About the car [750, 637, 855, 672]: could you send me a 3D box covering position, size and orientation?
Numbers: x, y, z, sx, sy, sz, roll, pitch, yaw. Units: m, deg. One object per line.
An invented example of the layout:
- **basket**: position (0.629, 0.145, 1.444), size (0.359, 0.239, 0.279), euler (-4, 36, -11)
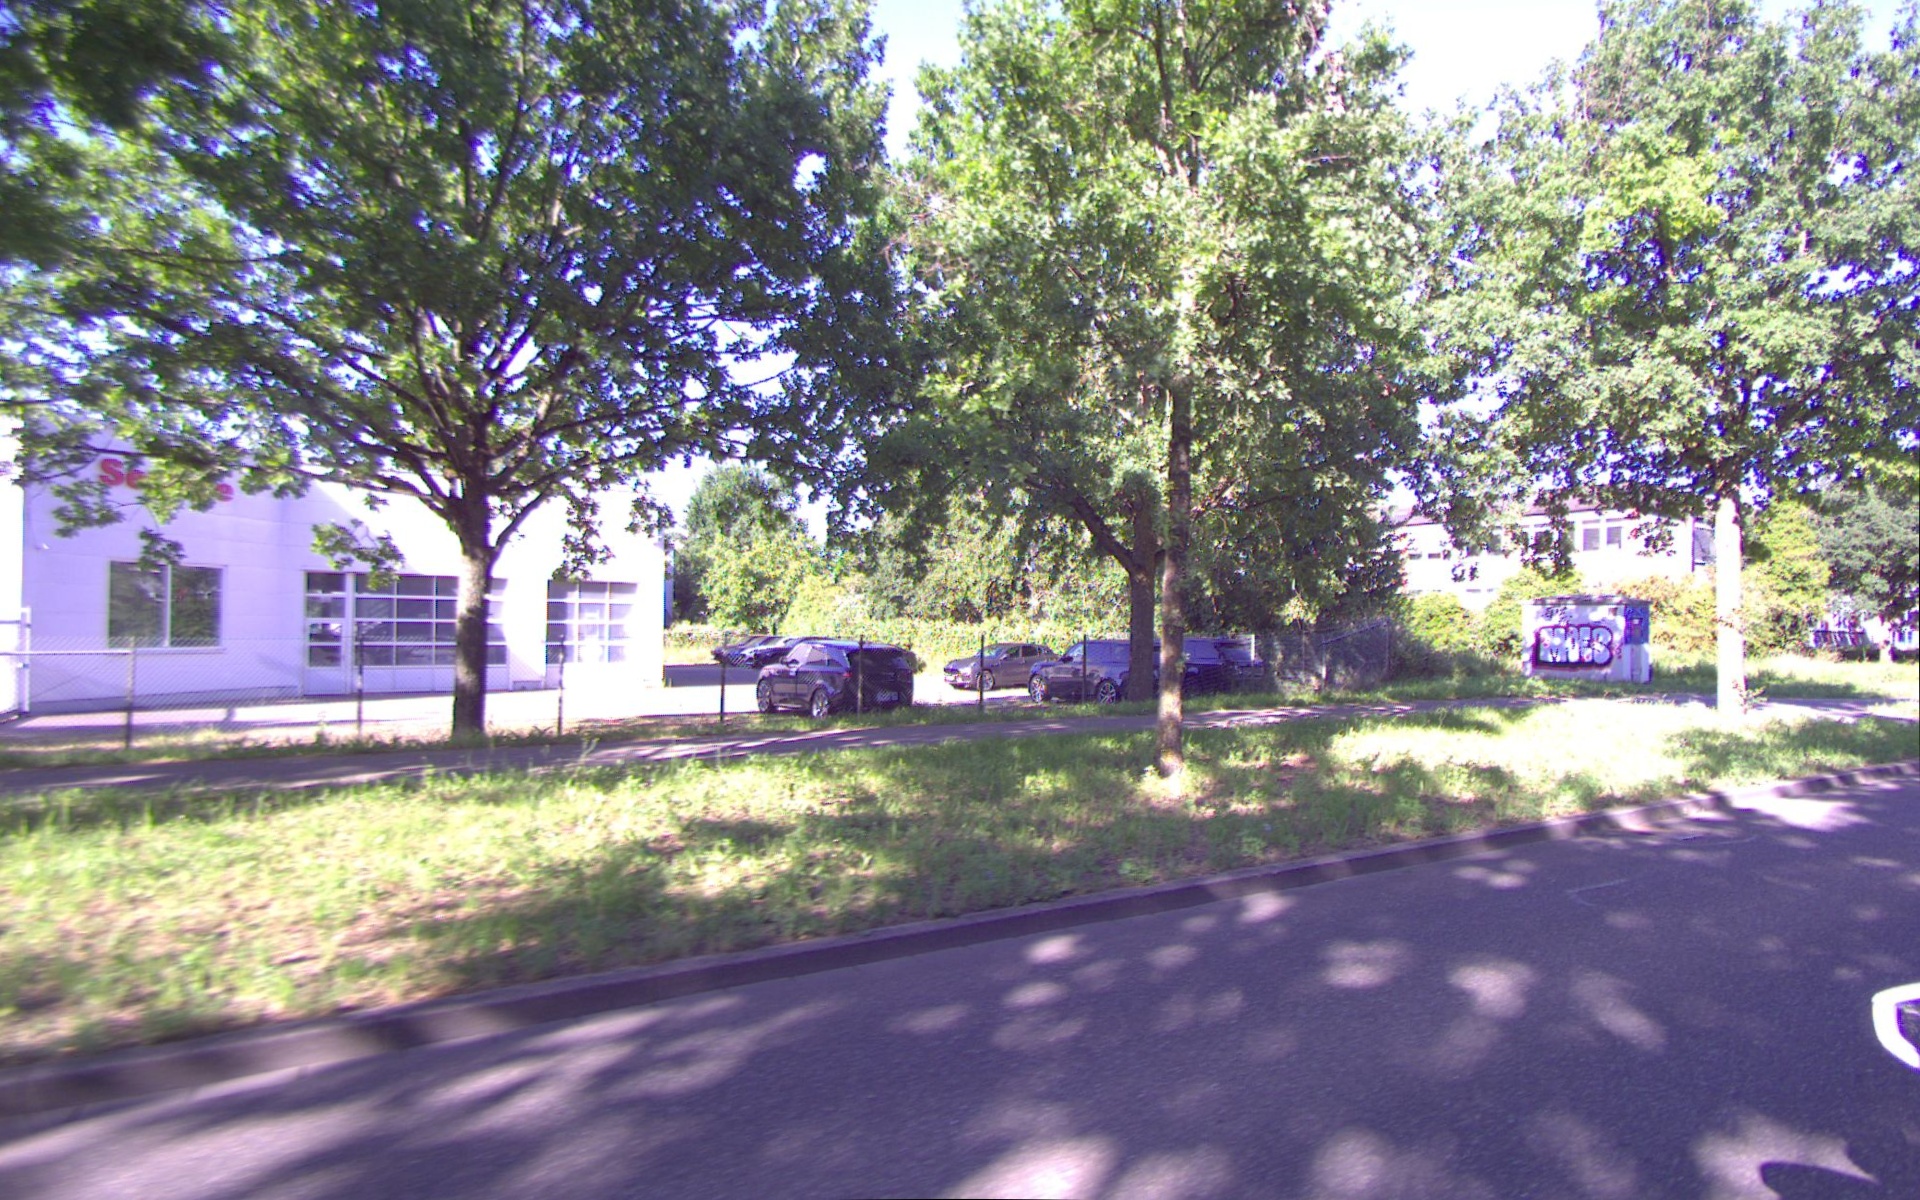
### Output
- **car**: position (-7.908, 2.718, 50.553), size (4.827, 1.587, 1.984), euler (2, 0, -30)

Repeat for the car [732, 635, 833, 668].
- **car**: position (-9.360, 2.706, 53.037), size (4.827, 1.587, 1.984), euler (2, 0, -30)

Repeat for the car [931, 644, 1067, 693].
- **car**: position (1.475, 2.461, 37.002), size (4.837, 1.587, 1.980), euler (2, 0, -36)

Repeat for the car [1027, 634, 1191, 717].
- **car**: position (3.831, 1.911, 26.508), size (1.979, 1.825, 4.164), euler (1, 0, -34)

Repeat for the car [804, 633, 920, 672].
- **car**: position (-4.370, 2.315, 45.117), size (4.837, 1.587, 1.980), euler (2, 0, -36)

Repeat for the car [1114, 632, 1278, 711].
- **car**: position (6.407, 1.877, 27.676), size (1.979, 1.825, 4.164), euler (1, 0, -34)

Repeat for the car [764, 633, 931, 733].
- **car**: position (-2.564, 1.734, 22.201), size (1.981, 1.825, 3.959), euler (1, 0, -36)
